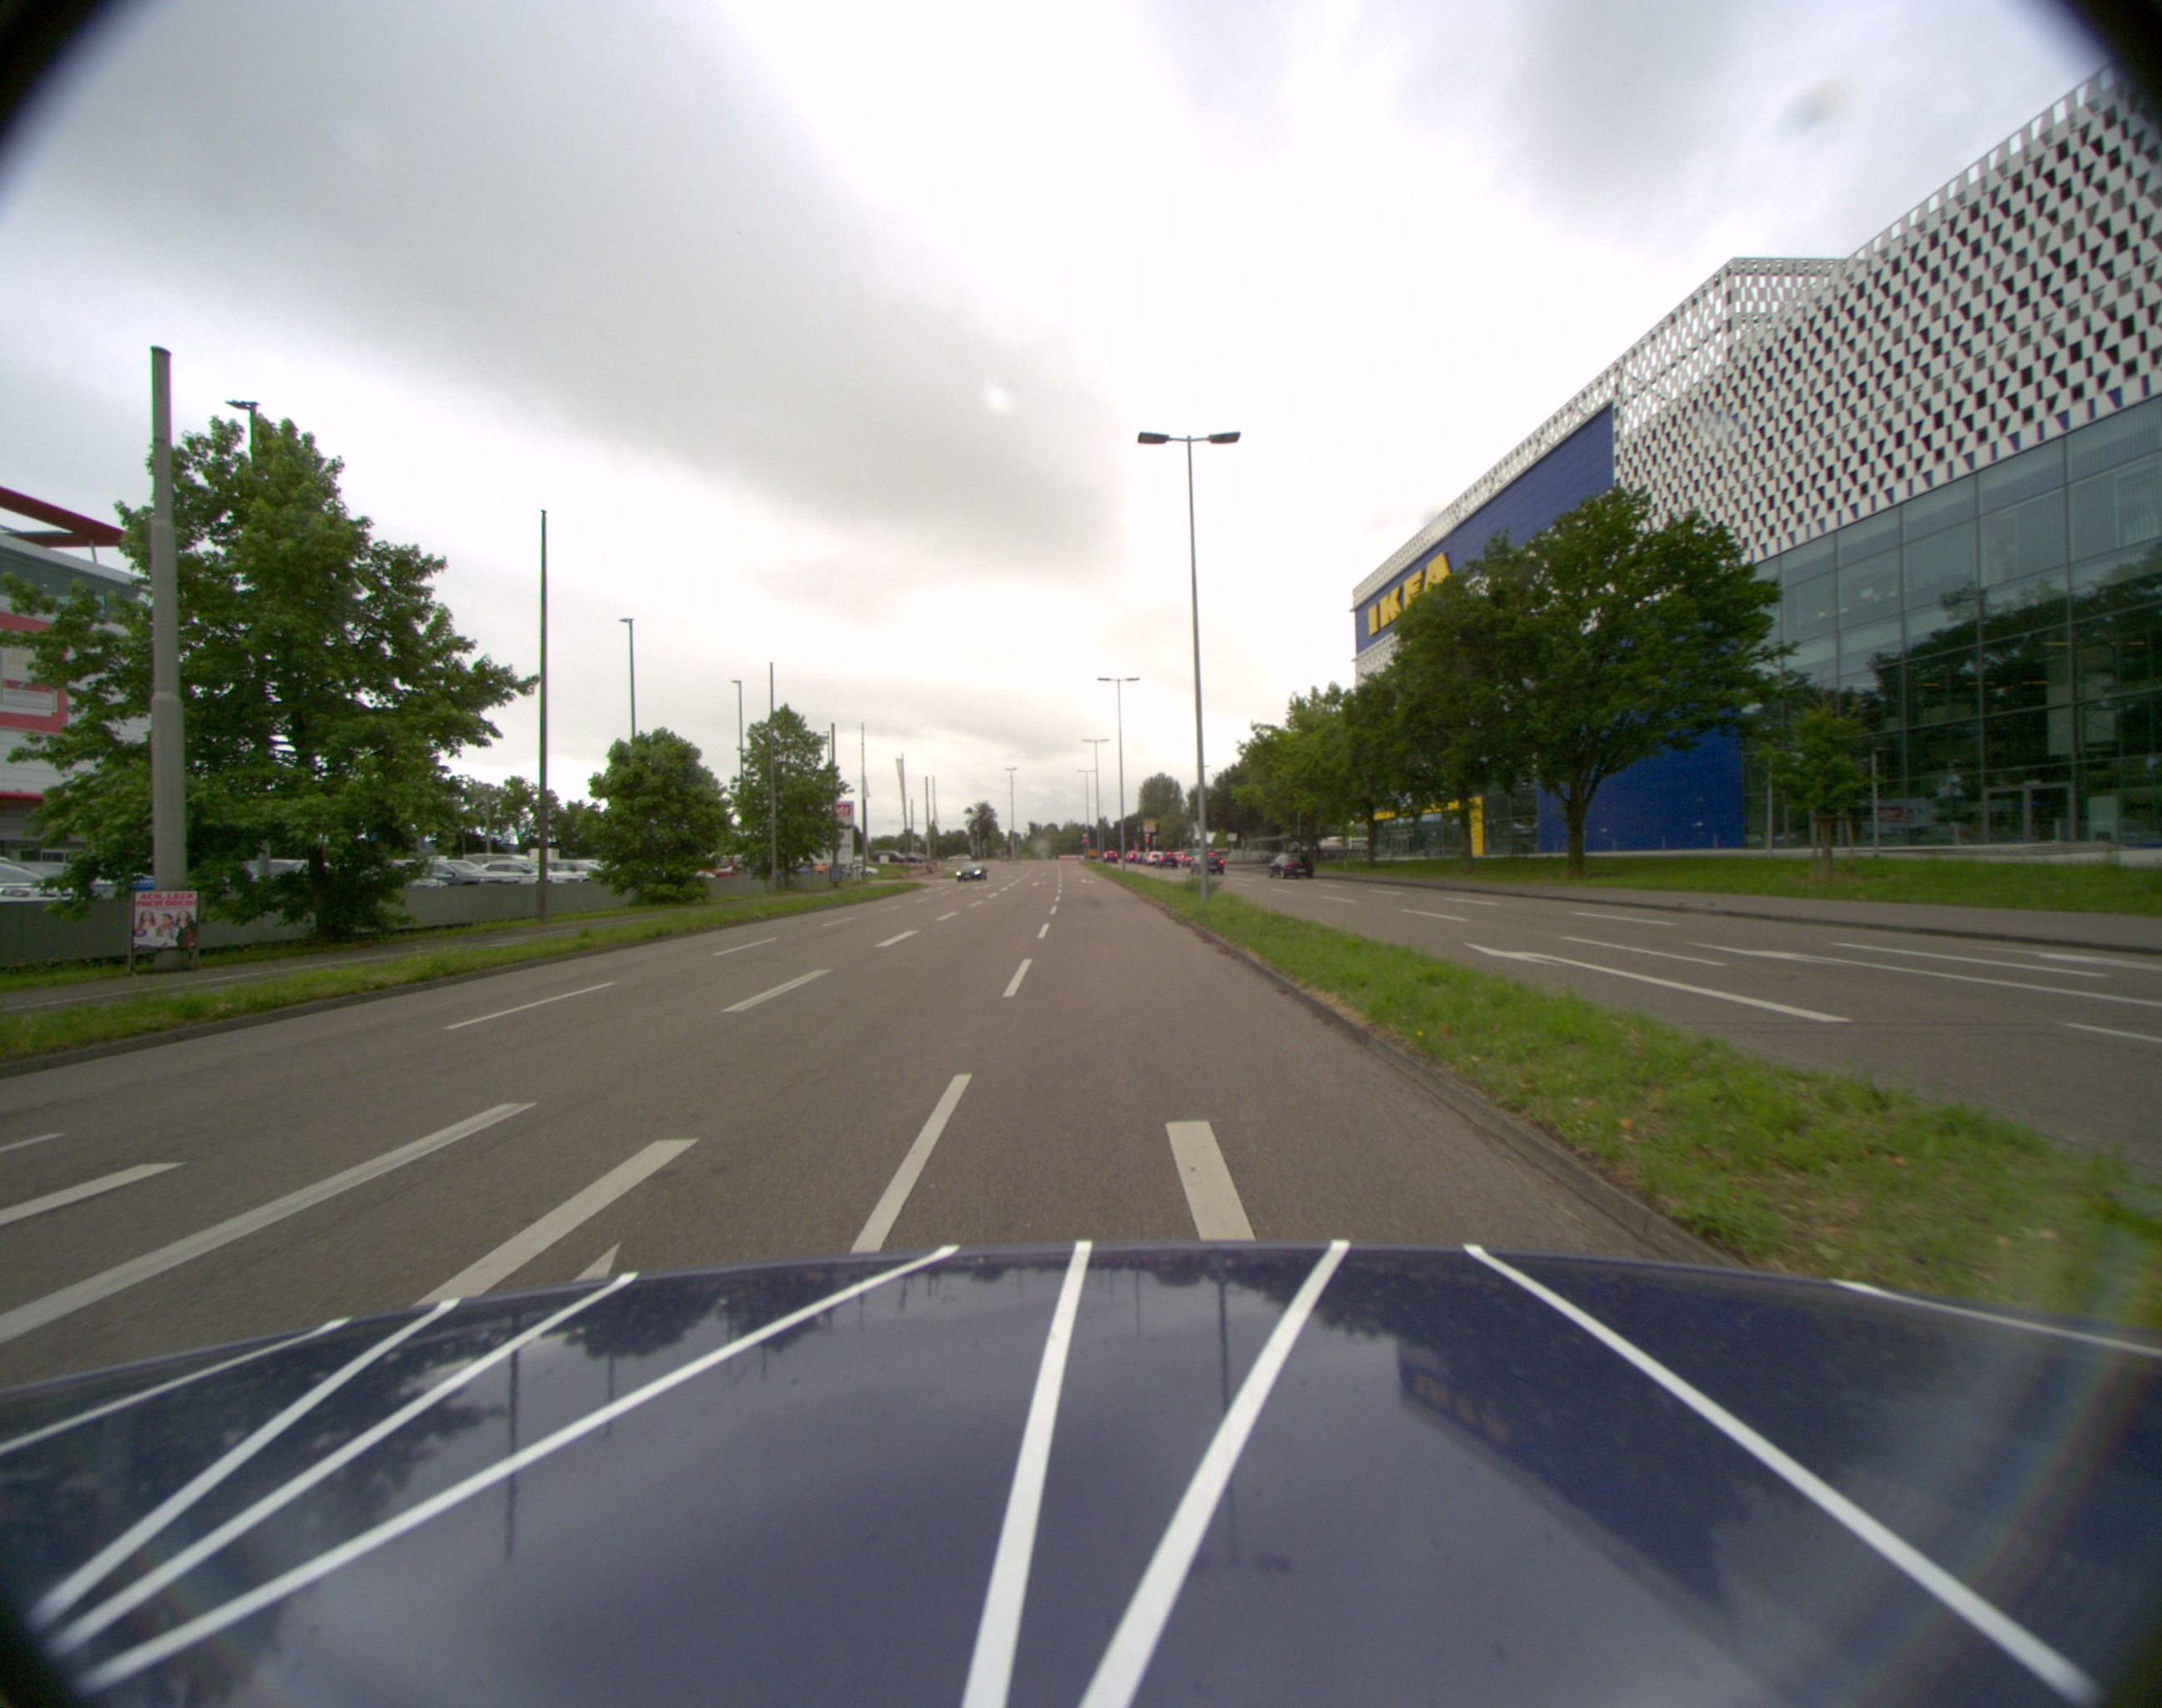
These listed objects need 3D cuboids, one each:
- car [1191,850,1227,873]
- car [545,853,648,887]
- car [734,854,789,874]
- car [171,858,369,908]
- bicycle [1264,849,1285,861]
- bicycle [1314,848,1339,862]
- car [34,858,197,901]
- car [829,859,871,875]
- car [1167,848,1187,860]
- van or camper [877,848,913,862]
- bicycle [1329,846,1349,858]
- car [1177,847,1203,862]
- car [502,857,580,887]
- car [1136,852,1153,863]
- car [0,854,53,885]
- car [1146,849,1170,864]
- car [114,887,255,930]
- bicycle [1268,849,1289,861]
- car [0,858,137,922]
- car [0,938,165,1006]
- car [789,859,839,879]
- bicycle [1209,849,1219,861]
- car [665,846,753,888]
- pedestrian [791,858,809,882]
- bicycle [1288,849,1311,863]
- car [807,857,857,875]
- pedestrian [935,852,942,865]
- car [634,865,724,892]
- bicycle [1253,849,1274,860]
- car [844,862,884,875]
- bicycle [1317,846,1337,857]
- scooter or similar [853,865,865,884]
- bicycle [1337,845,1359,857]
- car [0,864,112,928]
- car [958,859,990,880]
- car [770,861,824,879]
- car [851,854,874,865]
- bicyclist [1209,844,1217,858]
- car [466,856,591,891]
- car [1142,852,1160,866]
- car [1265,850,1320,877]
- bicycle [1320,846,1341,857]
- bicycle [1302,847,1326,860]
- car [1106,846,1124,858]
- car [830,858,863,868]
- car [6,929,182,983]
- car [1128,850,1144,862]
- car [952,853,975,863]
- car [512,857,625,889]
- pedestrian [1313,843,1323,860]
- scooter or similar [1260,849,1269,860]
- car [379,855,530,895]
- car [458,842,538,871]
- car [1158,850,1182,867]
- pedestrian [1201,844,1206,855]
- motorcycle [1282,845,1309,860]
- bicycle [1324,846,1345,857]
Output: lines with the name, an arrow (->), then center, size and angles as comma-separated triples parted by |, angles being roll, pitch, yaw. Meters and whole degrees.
car -> 8.713, 0.490, 52.036 | 1.784, 1.447, 4.181 | -1, 1, 0
car -> -24.523, 0.827, 38.530 | 4.064, 1.531, 1.764 | -2, -1, 0
car -> -34.787, 1.076, 82.786 | 5.046, 2.153, 2.122 | -1, 1, 4
car -> -24.719, 0.877, 23.280 | 4.065, 1.342, 1.764 | -2, -2, -2
bicycle -> 19.509, 0.095, 76.433 | 1.899, 1.150, 0.593 | -4, 1, -1
bicycle -> 22.013, 0.082, 68.147 | 2.020, 1.116, 0.593 | -3, 1, 1
car -> -38.634, 0.999, 30.488 | 3.998, 1.613, 1.832 | 0, 0, -4
car -> -25.392, 1.458, 83.543 | 4.104, 1.574, 1.769 | -2, -1, -5
car -> 11.934, -0.065, 94.399 | 1.871, 1.446, 4.167 | 0, 1, -1
van or camper -> -27.219, 0.116, 111.303 | 4.744, 2.003, 2.125 | 0, 3, 14
bicycle -> 27.540, -0.226, 81.031 | 2.023, 1.150, 0.593 | -3, 1, -14
car -> 10.943, -0.008, 76.434 | 1.777, 1.443, 4.403 | 0, 1, -2
car -> -34.256, 1.144, 48.266 | 3.745, 1.757, 1.734 | -2, -1, 0
car -> 7.859, 0.416, 93.887 | 1.607, 1.436, 4.142 | 0, 0, -2
car -> -57.927, 0.837, 40.436 | 3.803, 1.544, 1.831 | -2, -1, -2
car -> 8.214, 0.229, 81.188 | 1.936, 1.510, 4.181 | -2, 0, -2
car -> -38.984, 2.353, 33.114 | 3.997, 1.710, 1.841 | -2, -2, 0
bicycle -> 19.565, 0.093, 75.354 | 1.899, 1.150, 0.593 | -4, 1, -1
car -> -35.172, 1.225, 25.543 | 4.187, 2.002, 2.000 | -2, 0, -2
car -> -28.877, 3.306, 21.319 | 4.065, 1.542, 1.763 | -2, 1, -1
car -> -24.764, 1.388, 70.539 | 3.996, 1.634, 1.815 | -1, 1, 3
bicycle -> 15.349, 0.105, 87.885 | 0.644, 1.243, 2.056 | -3, 0, -2
car -> -24.778, 0.880, 50.699 | 4.734, 2.563, 2.171 | -2, -1, 0
pedestrian -> -20.500, 1.195, 55.434 | 0.942, 1.709, 0.885 | -2, -1, -2
bicycle -> 20.149, 0.167, 70.051 | 2.019, 1.150, 0.594 | -3, 1, 13
car -> -24.672, 1.190, 75.440 | 4.543, 1.574, 1.767 | -2, 2, -14
pedestrian -> -17.997, 0.547, 96.036 | 0.717, 1.589, 0.782 | -2, 3, -18
car -> -24.243, 1.476, 45.907 | 4.385, 1.452, 1.961 | -2, -2, 0
bicycle -> 19.208, 0.071, 79.940 | 2.021, 1.150, 0.593 | -2, 1, -1
car -> -25.255, 1.696, 88.532 | 4.118, 1.437, 1.876 | -2, -2, -2
bicycle -> 27.508, -0.267, 84.863 | 2.021, 1.150, 0.593 | -3, 1, -3
scooter or similar -> -14.417, 1.322, 49.373 | 0.371, 1.184, 1.248 | -1, 0, -1
bicycle -> 27.719, -0.271, 78.853 | 2.022, 1.150, 0.593 | -3, 1, -7
car -> -23.783, 0.941, 16.343 | 3.524, 1.300, 1.606 | -2, -1, -6
car -> -8.203, 1.153, 58.492 | 1.999, 1.383, 4.342 | -2, 0, -3
car -> -24.506, 1.367, 65.649 | 3.997, 1.447, 1.814 | -2, 1, 0
car -> -40.605, 1.012, 141.018 | 4.002, 2.002, 1.945 | -2, 1, -15
bicyclist -> 15.305, -0.374, 87.861 | 0.642, 1.568, 1.000 | -3, 1, -2
car -> -23.993, 0.843, 33.092 | 4.065, 1.342, 1.764 | -2, -2, -2
car -> 8.104, 0.519, 87.933 | 1.607, 1.489, 4.036 | 0, 1, -2
car -> 12.244, 0.521, 44.196 | 1.936, 1.447, 4.181 | 0, 1, -2
bicycle -> 27.522, -0.277, 83.757 | 2.021, 1.150, 0.593 | -3, 1, -3
bicycle -> 21.938, -0.030, 71.671 | 2.021, 1.150, 0.593 | -4, 1, -1
car -> 4.369, -0.236, 98.005 | 1.936, 1.477, 4.437 | 0, 1, -2
car -> -34.719, 1.329, 112.619 | 4.317, 1.455, 1.969 | 0, 0, 4
car -> -37.038, 3.803, 28.609 | 3.998, 1.613, 1.783 | -2, 1, -4
car -> 7.285, 0.236, 100.417 | 1.666, 1.494, 4.064 | -2, 0, -2
car -> -22.271, 0.822, 144.200 | 4.083, 1.723, 1.775 | -1, -1, -12
car -> -24.128, 0.918, 35.892 | 4.065, 1.342, 1.835 | -2, -2, -2
pedestrian -> 24.948, -0.273, 79.935 | 0.679, 1.735, 0.808 | -2, 0, -1
scooter or similar -> 19.142, 0.045, 79.205 | 0.358, 1.178, 1.295 | -3, 1, 36
car -> -23.701, 0.798, 28.870 | 4.163, 1.342, 1.810 | -2, -2, -2
car -> -66.667, 0.331, 86.968 | 6.946, 2.971, 2.769 | -2, -1, -2
car -> 8.229, 0.374, 70.559 | 1.762, 1.445, 3.998 | 0, 1, -1
pedestrian -> 18.116, -0.698, 112.321 | 0.635, 1.633, 0.809 | -2, 3, -4
motorcycle -> 21.778, -0.130, 77.095 | 2.501, 1.347, 0.799 | -4, 1, -13
bicycle -> 27.562, -0.255, 82.527 | 2.021, 1.150, 0.593 | -3, 1, -3
